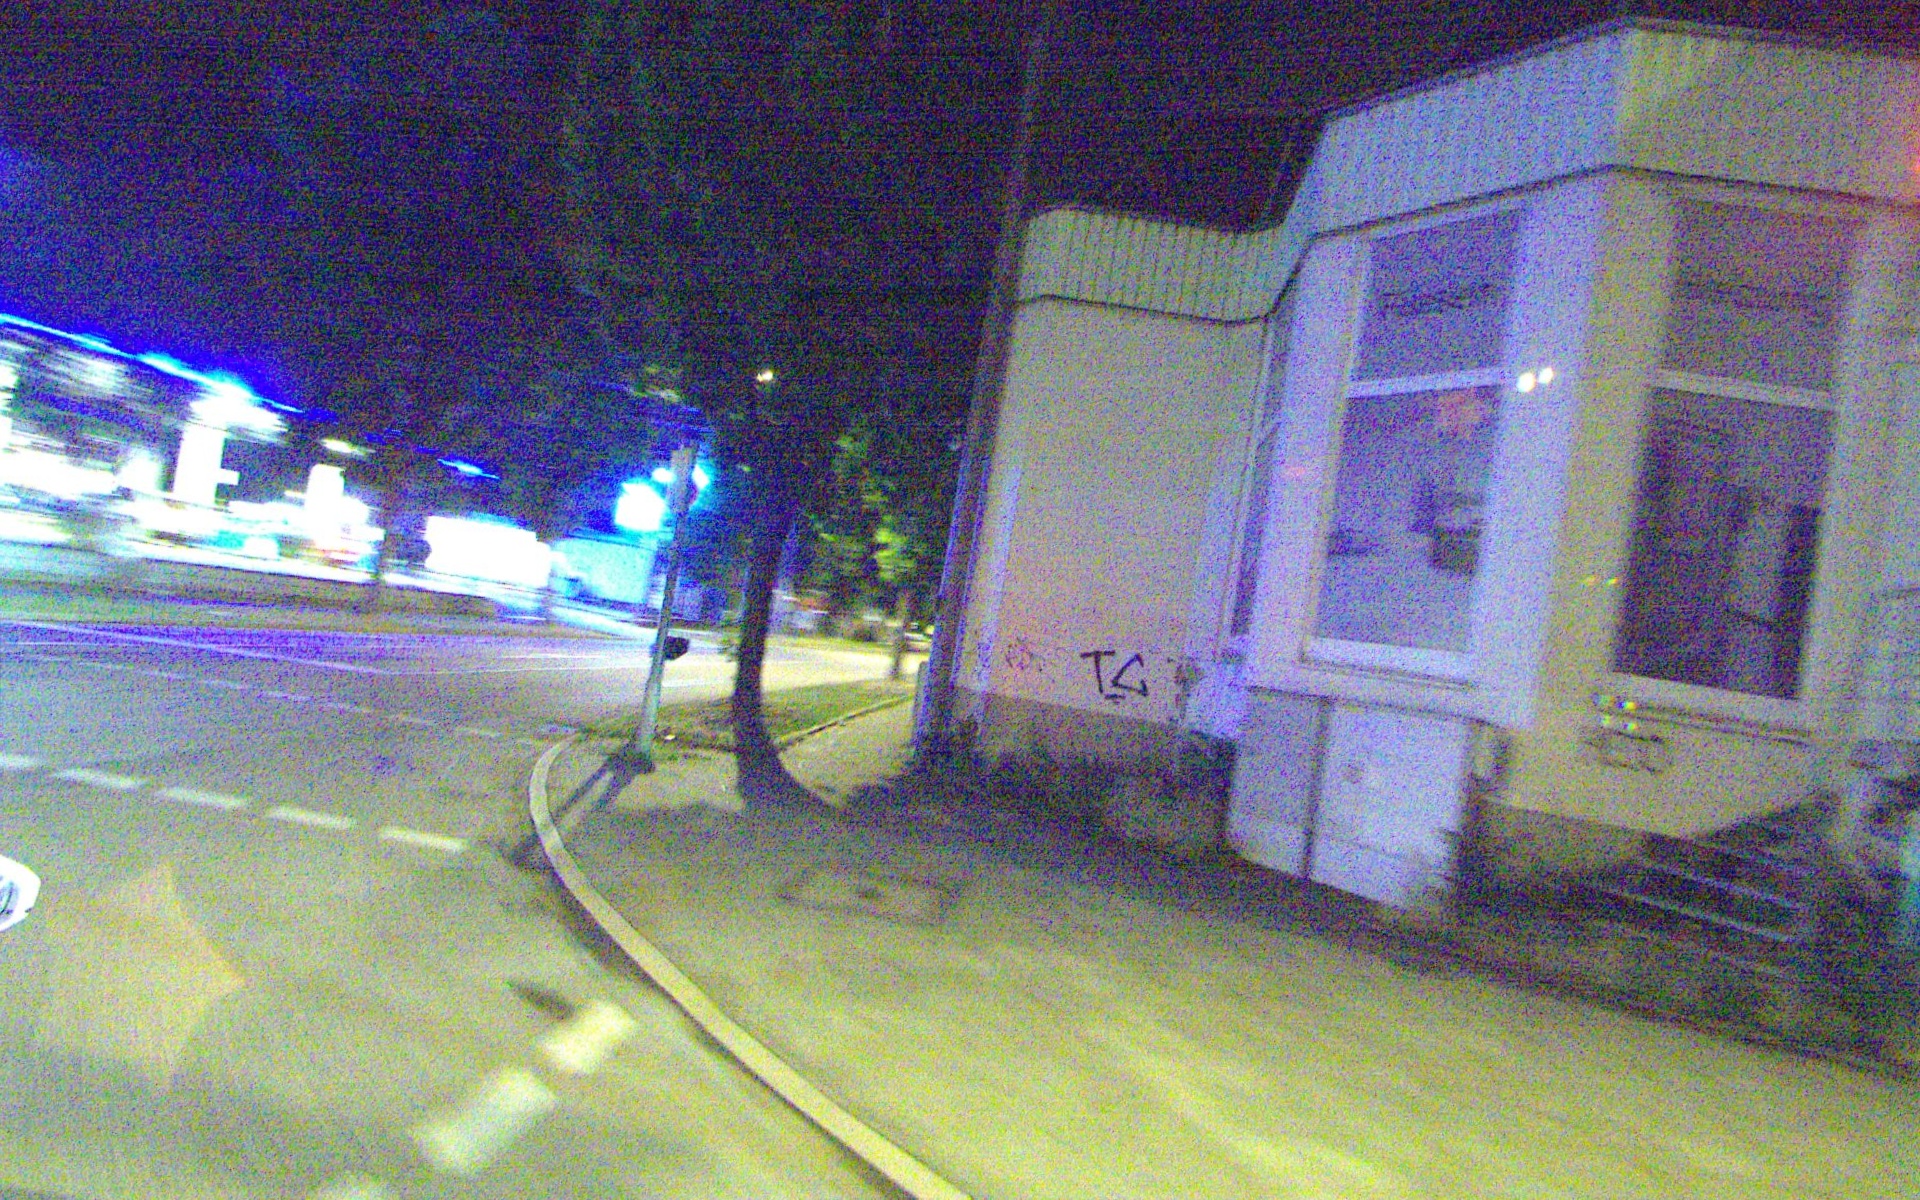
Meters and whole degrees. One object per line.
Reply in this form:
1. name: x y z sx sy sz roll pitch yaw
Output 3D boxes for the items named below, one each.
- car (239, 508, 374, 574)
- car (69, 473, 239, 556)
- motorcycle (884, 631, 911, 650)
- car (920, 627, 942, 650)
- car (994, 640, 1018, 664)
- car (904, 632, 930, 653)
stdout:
1. car: -26.120 -2.332 40.305 3.928 1.681 2.002 11 -2 3
2. car: -27.299 -2.873 34.158 4.172 1.788 2.003 11 -2 8
3. motorcycle: -5.385 3.468 86.238 1.996 1.408 0.872 9 -2 -24
4. car: -3.489 4.725 123.332 1.962 2.442 4.491 7 -2 5
5. car: 4.424 4.980 96.654 1.963 2.036 4.004 8 -2 1
6. car: -4.518 4.514 106.794 1.962 1.863 4.006 7 -3 6
